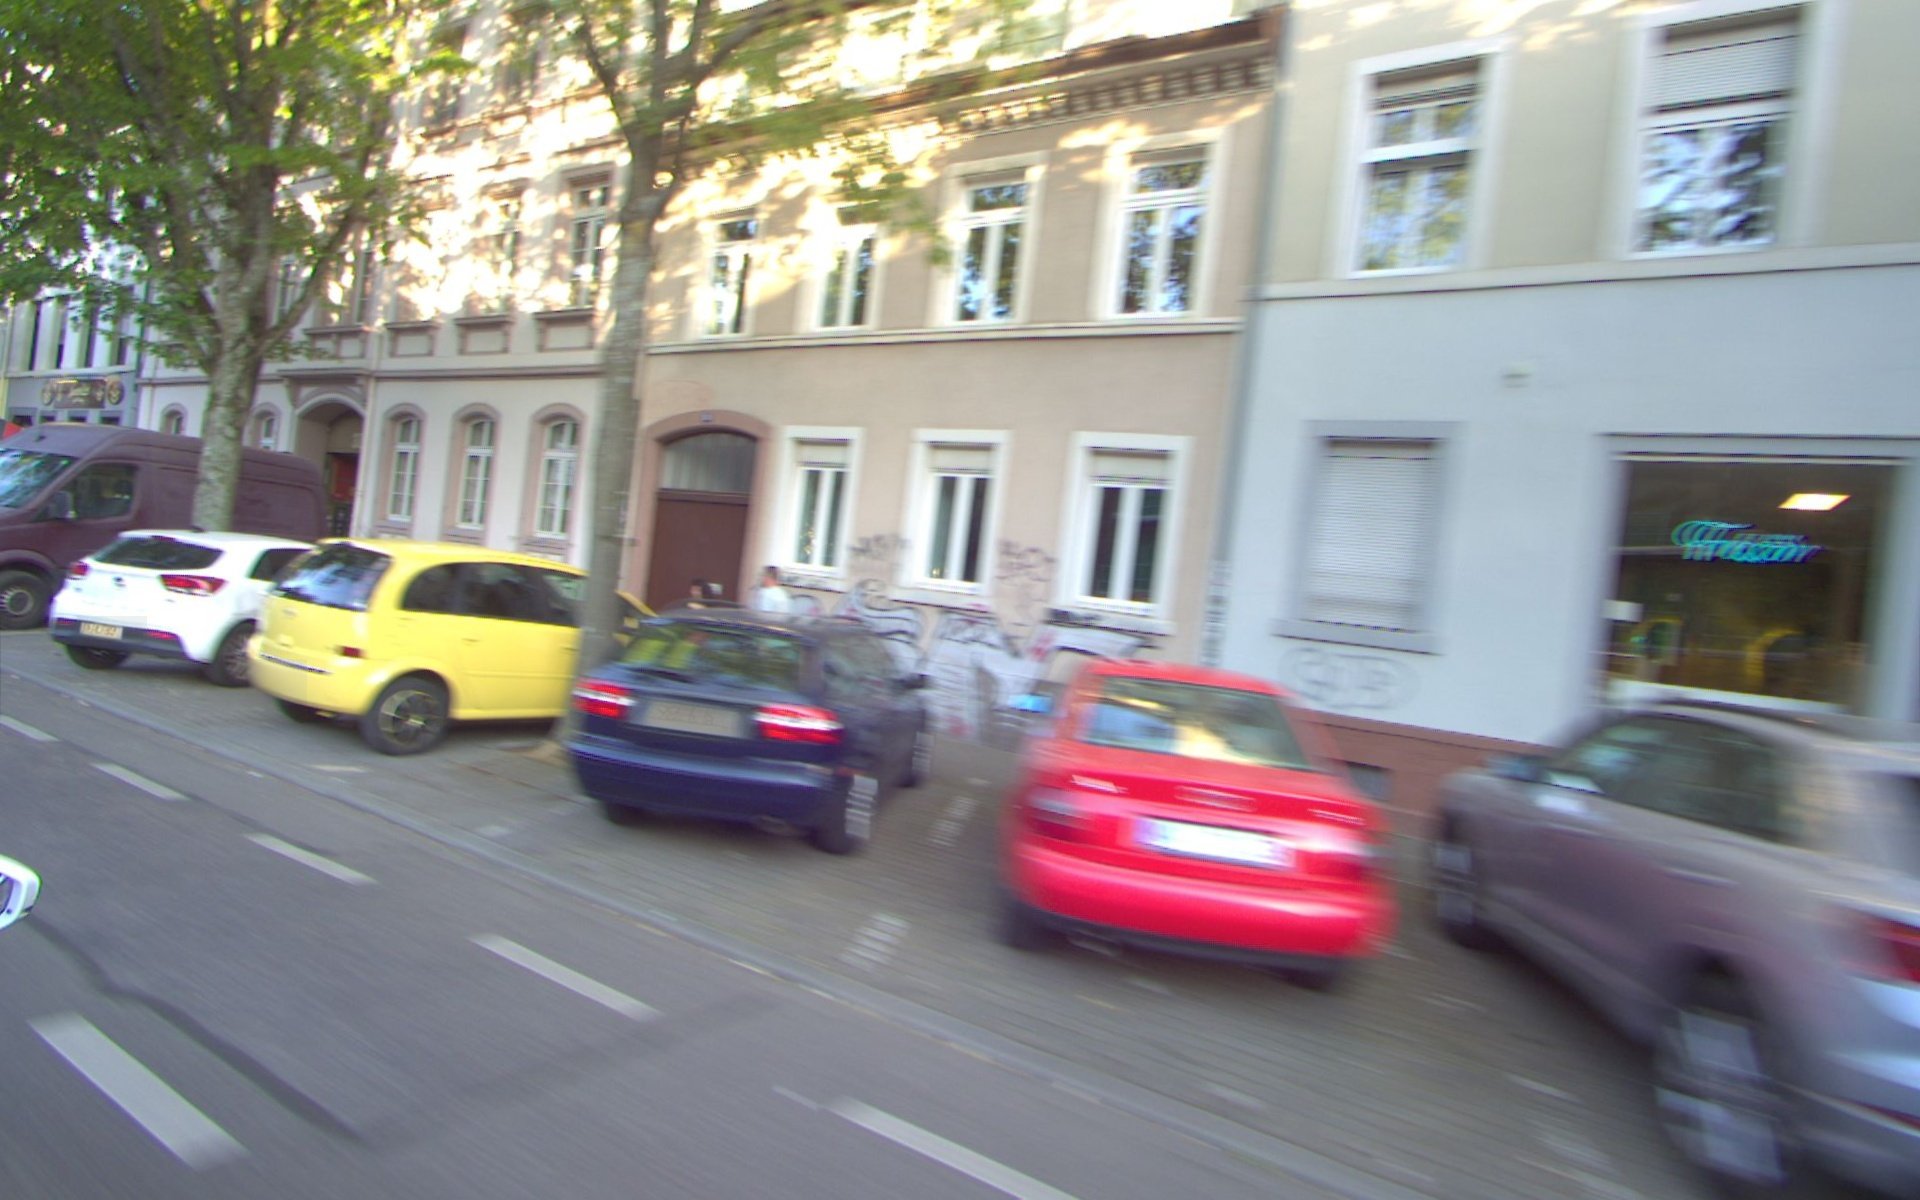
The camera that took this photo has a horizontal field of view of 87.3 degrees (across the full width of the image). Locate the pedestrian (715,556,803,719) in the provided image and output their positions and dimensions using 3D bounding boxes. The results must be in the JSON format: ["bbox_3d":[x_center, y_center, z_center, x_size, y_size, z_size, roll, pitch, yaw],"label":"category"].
[{"bbox_3d":[-2.381,0.447,11.932,0.597,1.836,0.566,7,0,31],"label":"pedestrian"}]

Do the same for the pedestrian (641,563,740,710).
[{"bbox_3d":[-3.113,0.421,11.606,0.800,1.587,0.538,7,0,33],"label":"pedestrian"}]

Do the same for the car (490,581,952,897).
[{"bbox_3d":[-1.296,0.743,7.342,1.884,1.442,4.135,6,0,6],"label":"car"}]

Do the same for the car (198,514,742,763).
[{"bbox_3d":[-4.125,0.336,9.118,1.889,1.640,3.954,6,0,32],"label":"car"}]

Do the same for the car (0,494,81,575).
[{"bbox_3d":[-19.683,-1.444,18.995,1.970,1.480,4.190,6,0,15],"label":"car"}]

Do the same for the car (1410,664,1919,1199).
[{"bbox_3d":[3.585,1.261,4.244,1.861,1.580,4.265,6,0,9],"label":"car"}]

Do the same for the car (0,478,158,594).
[{"bbox_3d":[-16.293,-1.182,16.834,1.785,1.728,4.023,6,-1,25],"label":"car"}]

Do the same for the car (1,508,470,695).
[{"bbox_3d":[-7.528,0.035,11.048,1.884,1.505,3.964,6,0,8],"label":"car"}]

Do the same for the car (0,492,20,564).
[{"bbox_3d":[-21.881,-1.709,20.074,1.970,1.517,4.190,6,0,7],"label":"car"}]

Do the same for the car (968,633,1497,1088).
[{"bbox_3d":[1.247,1.060,5.951,1.861,1.442,4.135,6,0,6],"label":"car"}]

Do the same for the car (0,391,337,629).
[{"bbox_3d":[-11.364,-1.070,13.368,1.983,2.676,5.112,6,1,15],"label":"car"}]
